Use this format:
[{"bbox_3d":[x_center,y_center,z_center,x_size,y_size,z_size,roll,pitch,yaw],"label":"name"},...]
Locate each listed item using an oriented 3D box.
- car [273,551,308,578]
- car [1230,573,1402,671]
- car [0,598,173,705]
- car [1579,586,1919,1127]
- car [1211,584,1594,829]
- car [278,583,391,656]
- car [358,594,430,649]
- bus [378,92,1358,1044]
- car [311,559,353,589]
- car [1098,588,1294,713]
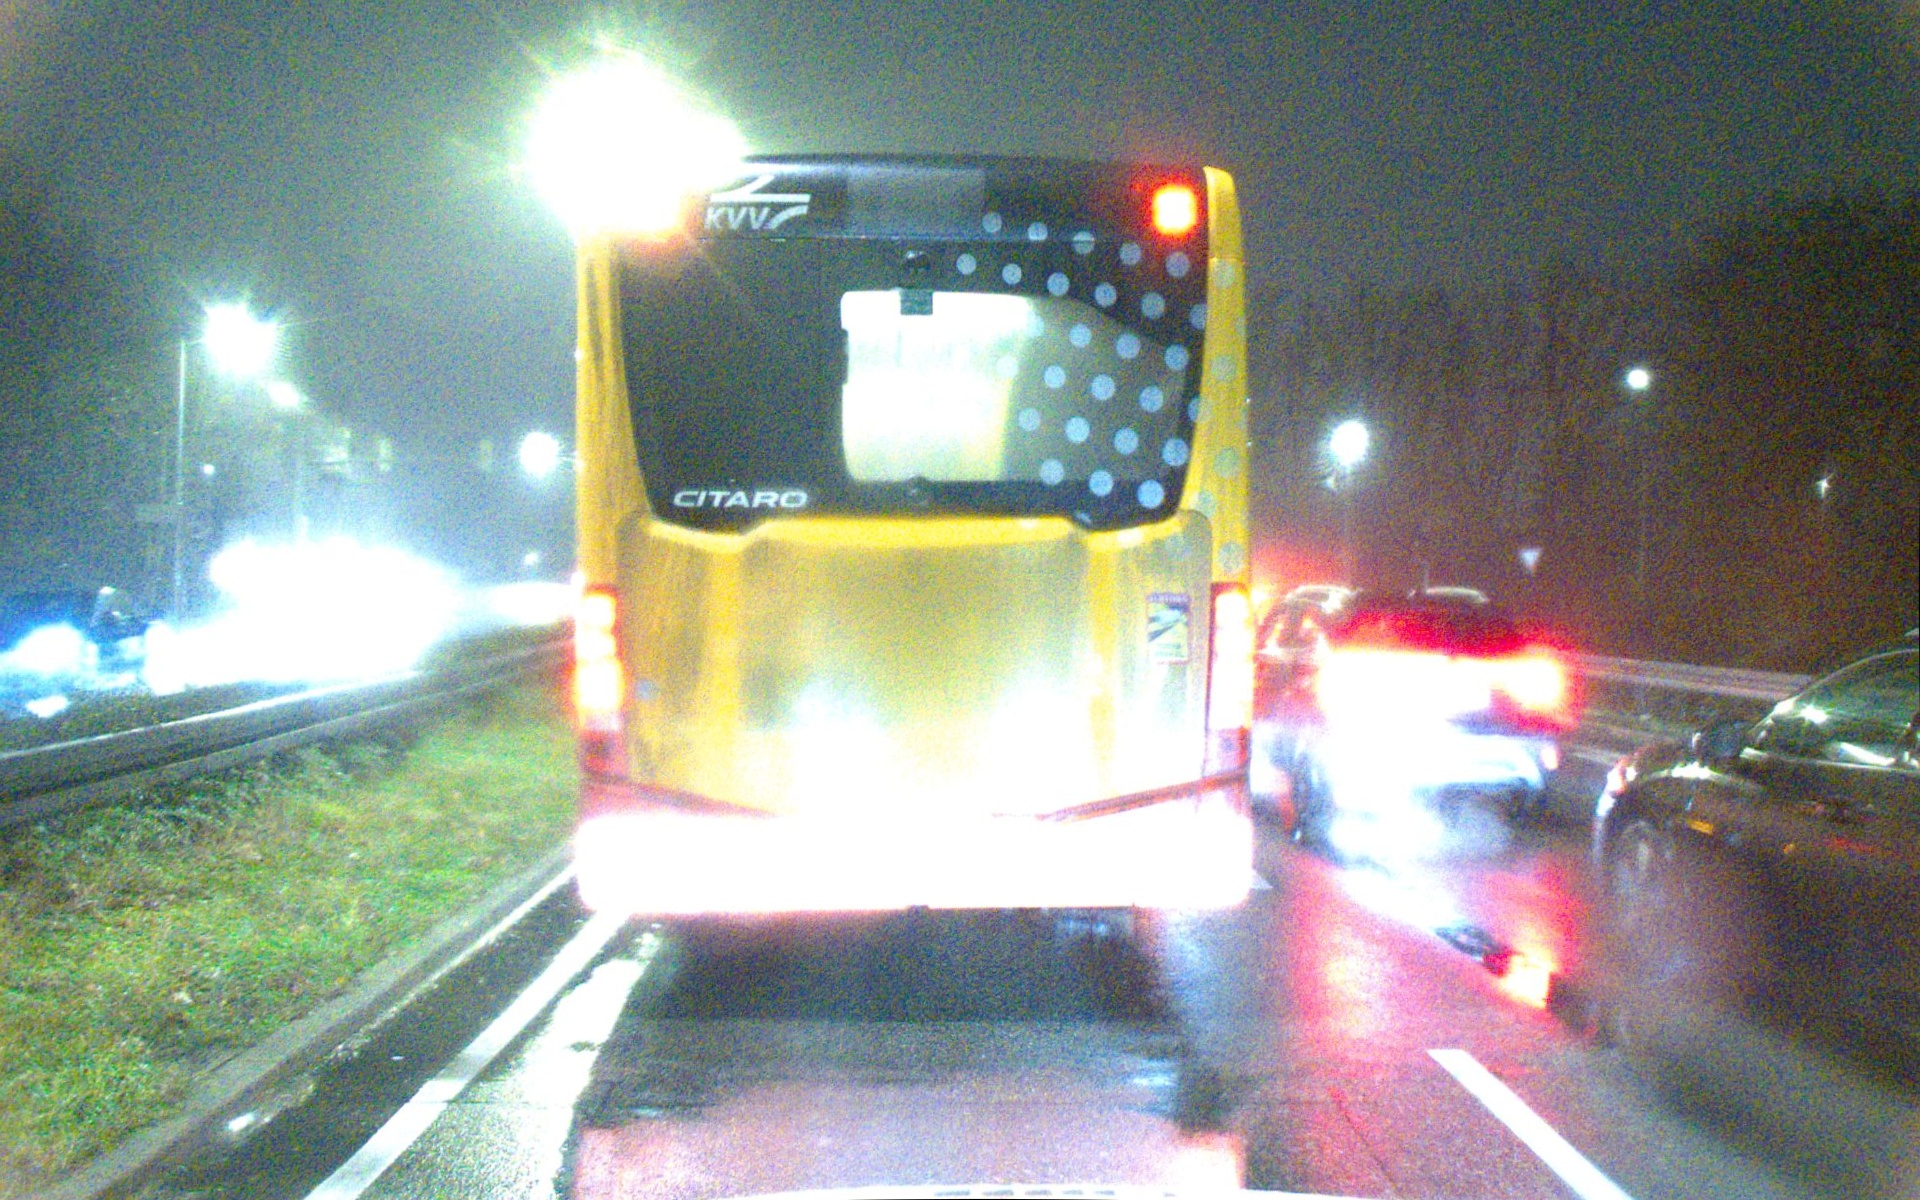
[{"bbox_3d":[-40.799,-2.123,100.741,1.719,1.528,3.968,1,0,-25],"label":"car"},{"bbox_3d":[6.192,0.364,29.276,1.953,1.506,4.337,3,0,-2],"label":"car"},{"bbox_3d":[-13.344,0.698,24.652,1.680,1.448,4.657,0,0,-9],"label":"car"},{"bbox_3d":[3.563,0.763,4.907,1.639,1.532,4.558,2,0,-1],"label":"car"},{"bbox_3d":[3.143,0.695,12.569,1.644,1.548,3.957,1,0,-3],"label":"car"},{"bbox_3d":[-14.905,0.460,39.595,1.836,1.636,4.236,0,0,-11],"label":"car"},{"bbox_3d":[-18.306,0.660,53.664,1.735,1.659,4.237,0,1,-13],"label":"car"},{"bbox_3d":[-0.477,-0.236,10.239,3.219,3.103,9.540,0,2,-3],"label":"bus"},{"bbox_3d":[-32.950,-1.332,86.716,1.776,1.508,3.786,0,0,-25],"label":"car"},{"bbox_3d":[2.786,0.575,20.356,1.652,1.353,3.958,-1,0,-3],"label":"car"}]
